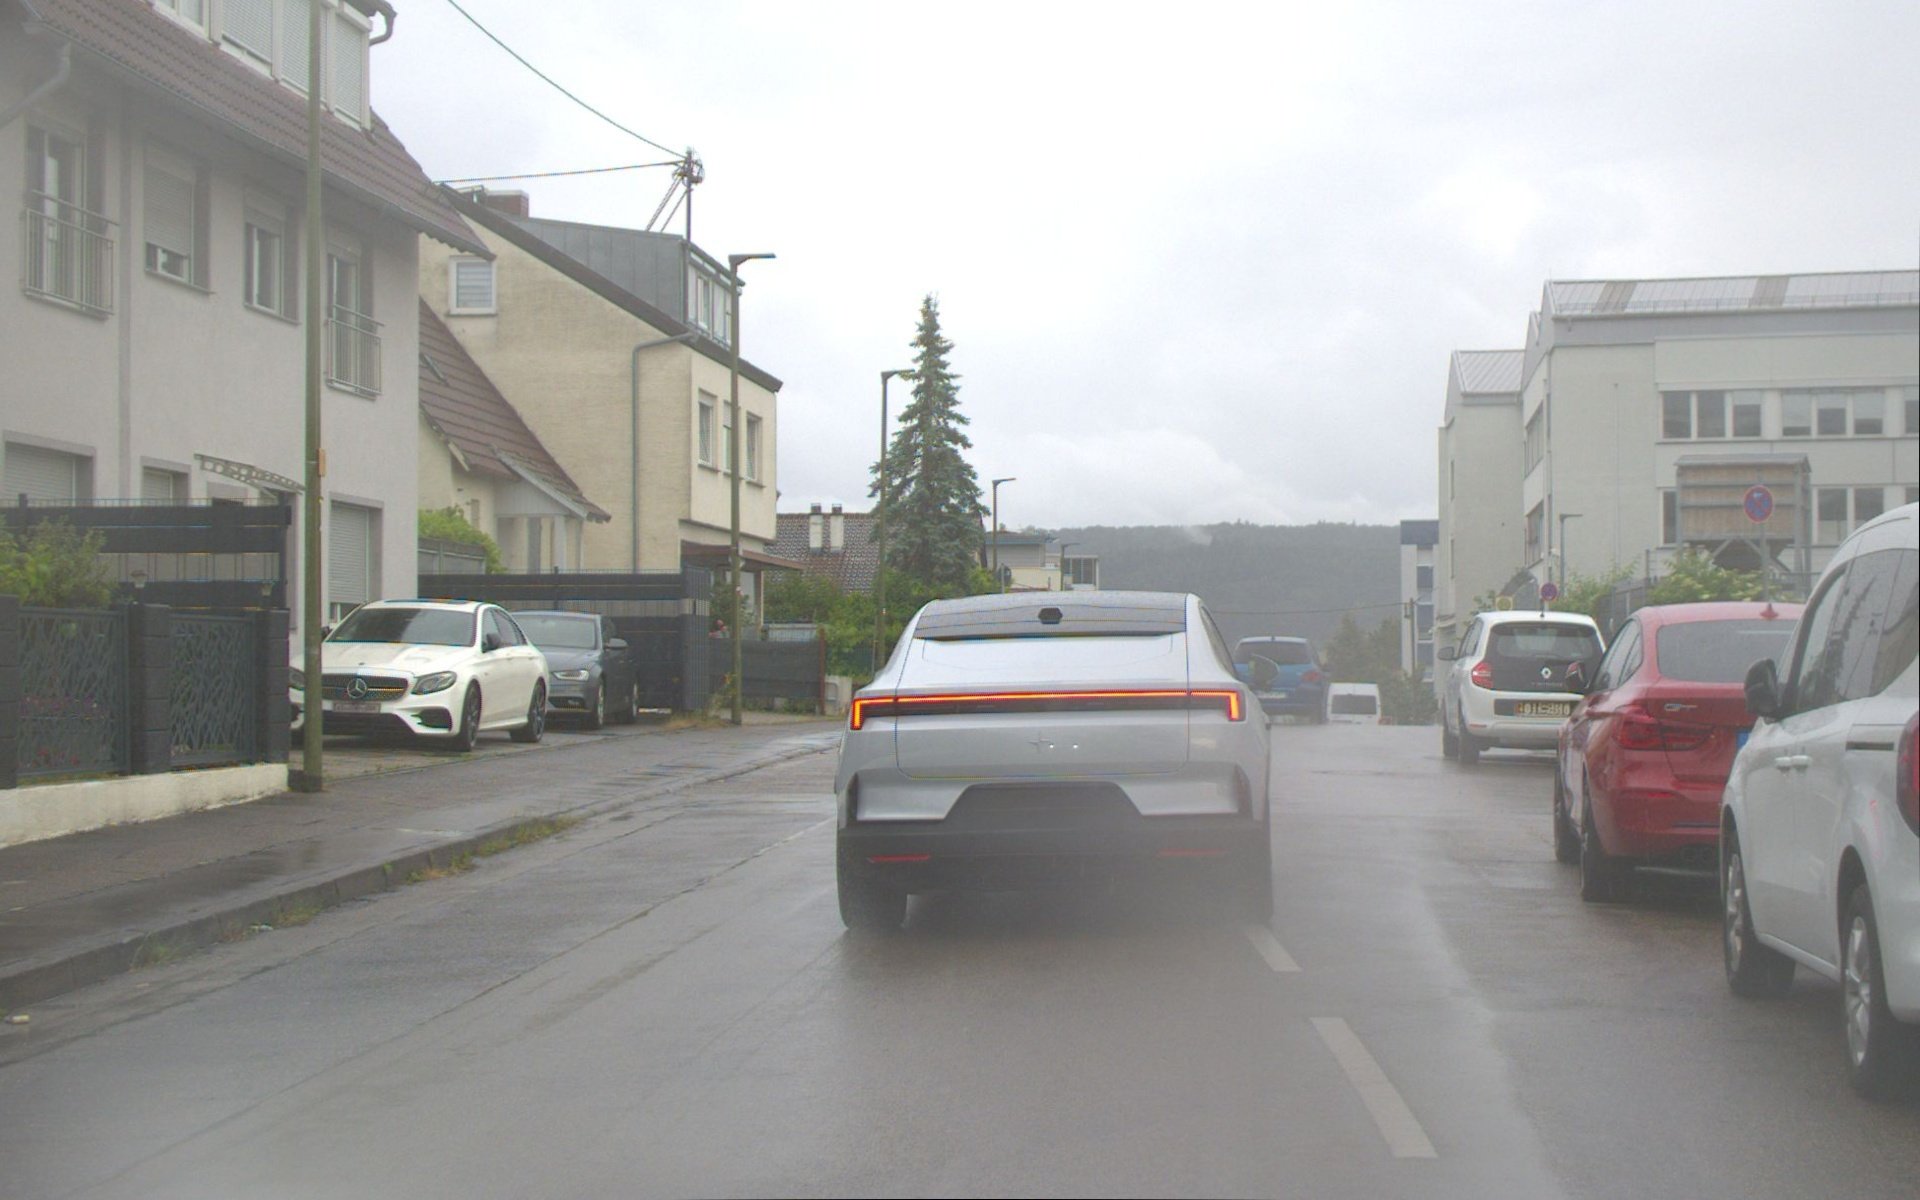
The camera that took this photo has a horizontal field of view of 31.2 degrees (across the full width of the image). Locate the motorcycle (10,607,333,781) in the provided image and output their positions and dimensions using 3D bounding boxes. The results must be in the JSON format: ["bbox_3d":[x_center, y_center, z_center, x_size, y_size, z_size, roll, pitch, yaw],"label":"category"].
[{"bbox_3d":[-6.333,0.745,27.670,2.363,1.269,0.736,3,0,6],"label":"motorcycle"}]

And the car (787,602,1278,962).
[{"bbox_3d":[0.512,0.766,16.840,1.994,1.497,4.668,0,0,6],"label":"car"}]

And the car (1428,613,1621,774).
[{"bbox_3d":[5.796,0.932,35.612,1.682,1.552,3.673,1,0,5],"label":"car"}]

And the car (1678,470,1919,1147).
[{"bbox_3d":[3.581,0.581,11.460,1.769,1.819,4.573,1,0,5],"label":"car"}]

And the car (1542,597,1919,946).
[{"bbox_3d":[4.023,0.791,18.114,1.643,1.569,4.642,1,0,7],"label":"car"}]

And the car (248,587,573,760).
[{"bbox_3d":[-5.421,0.705,34.599,1.994,1.505,4.894,3,0,5],"label":"car"}]

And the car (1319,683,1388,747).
[{"bbox_3d":[13.322,3.901,116.498,1.993,2.007,3.999,-1,-4,2],"label":"car"}]

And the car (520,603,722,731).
[{"bbox_3d":[-4.061,0.778,41.864,1.827,1.364,4.569,3,0,1],"label":"car"}]
